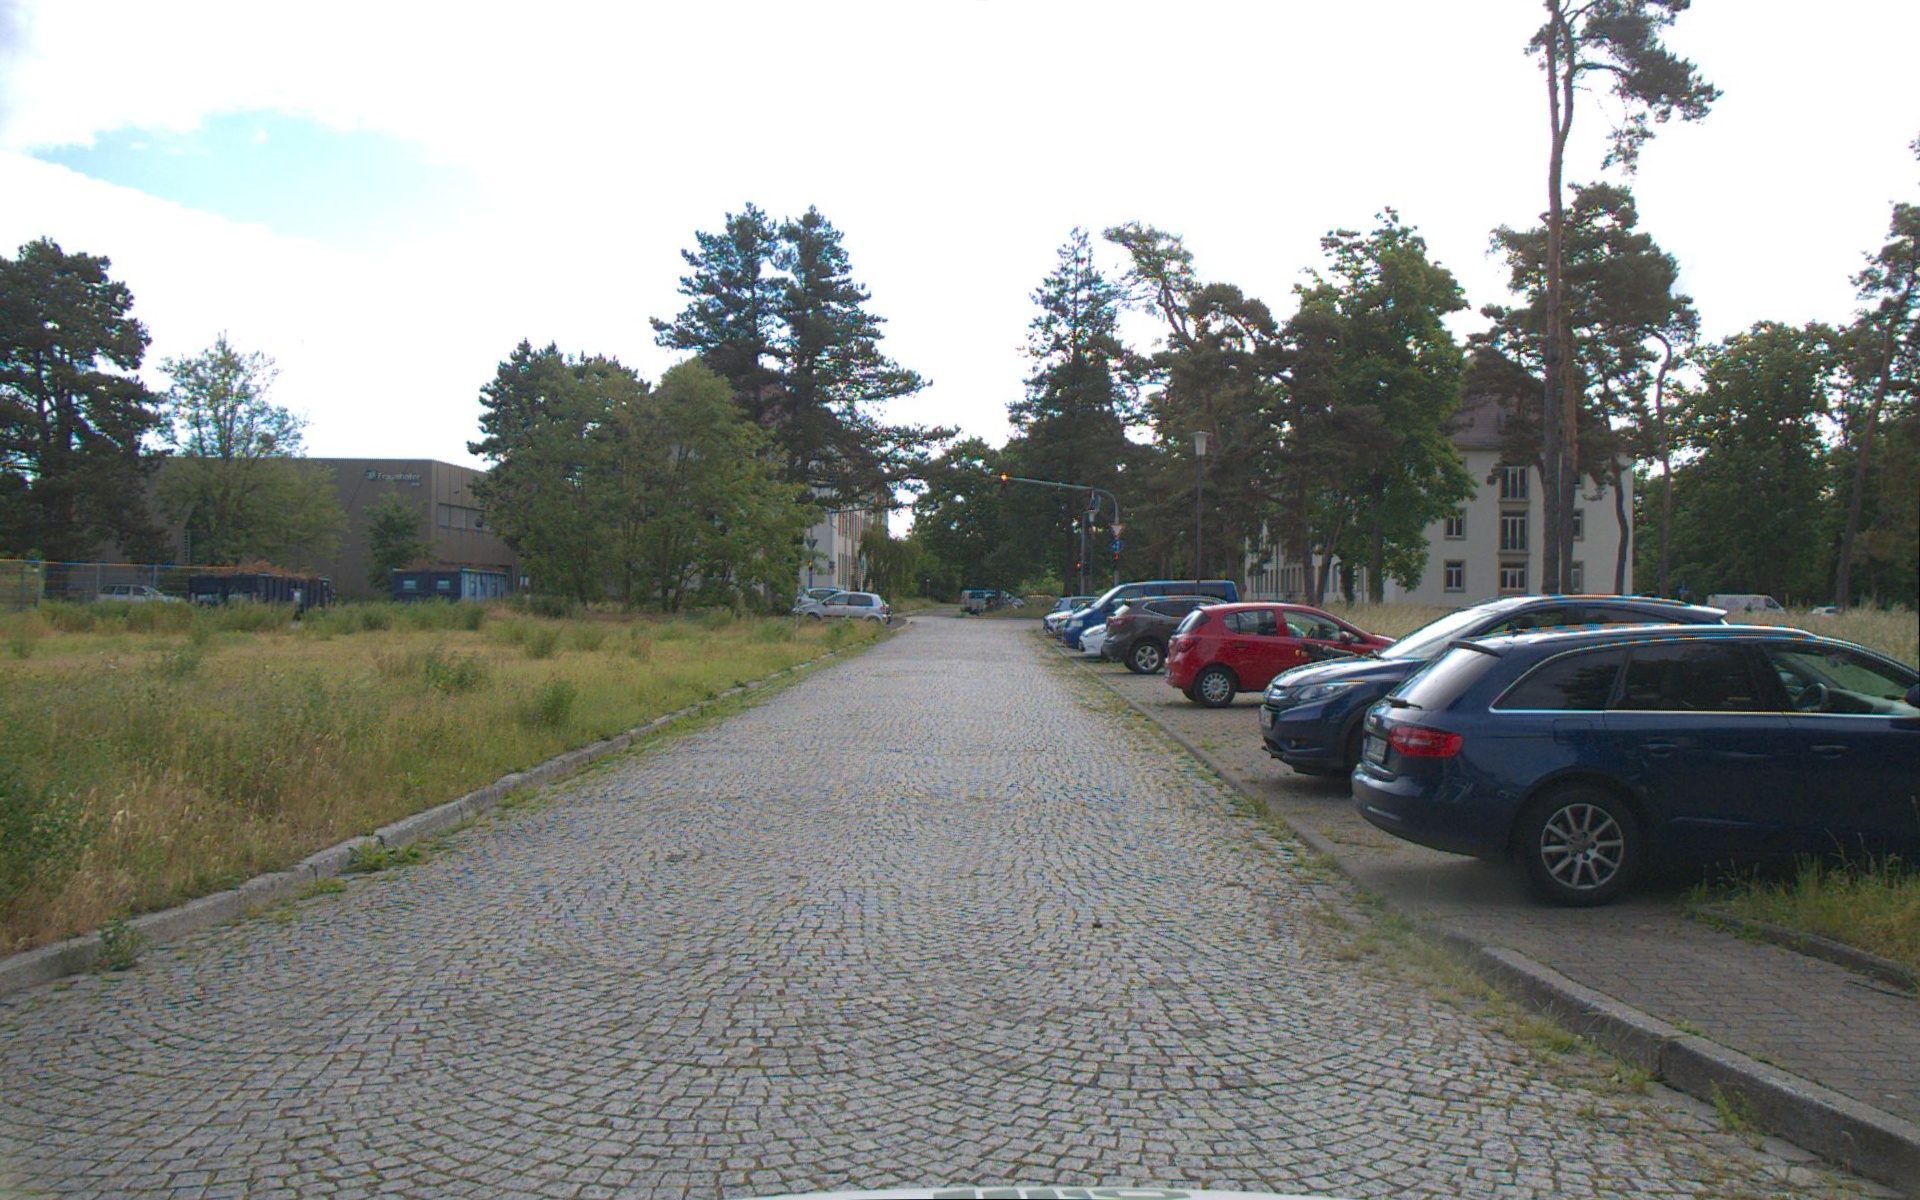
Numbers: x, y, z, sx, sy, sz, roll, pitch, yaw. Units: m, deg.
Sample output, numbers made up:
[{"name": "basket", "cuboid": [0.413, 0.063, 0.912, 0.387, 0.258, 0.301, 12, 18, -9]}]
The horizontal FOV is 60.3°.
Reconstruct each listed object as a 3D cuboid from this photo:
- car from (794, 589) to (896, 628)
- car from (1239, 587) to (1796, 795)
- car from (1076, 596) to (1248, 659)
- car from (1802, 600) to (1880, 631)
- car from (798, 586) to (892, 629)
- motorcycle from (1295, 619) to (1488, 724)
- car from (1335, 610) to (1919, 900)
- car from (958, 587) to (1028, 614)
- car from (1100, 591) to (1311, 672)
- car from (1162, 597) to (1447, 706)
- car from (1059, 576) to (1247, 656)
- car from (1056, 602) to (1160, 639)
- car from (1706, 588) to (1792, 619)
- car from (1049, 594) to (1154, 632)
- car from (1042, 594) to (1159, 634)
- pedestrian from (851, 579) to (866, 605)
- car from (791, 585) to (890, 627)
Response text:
[{"name": "car", "cuboid": [-4.811, 0.348, 69.230, 4.214, 1.581, 1.810, 0, 0, -5]}, {"name": "car", "cuboid": [4.645, 0.719, 14.220, 4.158, 1.651, 1.886, 0, 0, -1]}, {"name": "car", "cuboid": [4.992, 0.675, 41.187, 4.015, 1.504, 1.721, 0, 0, -2]}, {"name": "car", "cuboid": [58.191, 1.009, 109.291, 4.047, 1.835, 1.900, 2, 0, 3]}, {"name": "car", "cuboid": [-4.617, 0.293, 66.631, 3.646, 1.506, 1.672, 3, 0, -2]}, {"name": "motorcycle", "cuboid": [5.207, 0.858, 20.026, 2.185, 1.223, 0.568, 0, 0, -2]}, {"name": "car", "cuboid": [4.471, 0.805, 9.480, 4.266, 1.464, 1.927, 0, 0, 3]}, {"name": "car", "cuboid": [2.672, 0.051, 134.422, 5.281, 2.138, 2.172, 1, 0, -12]}, {"name": "car", "cuboid": [5.110, 0.636, 34.829, 4.118, 1.623, 1.953, 0, 0, -2]}, {"name": "car", "cuboid": [5.030, 0.731, 24.523, 3.843, 1.522, 1.784, 0, 0, -1]}, {"name": "car", "cuboid": [5.049, 0.415, 43.732, 4.698, 2.039, 1.966, 0, 0, -1]}, {"name": "car", "cuboid": [5.102, 0.691, 57.440, 3.512, 1.244, 1.629, 0, 0, 2]}, {"name": "car", "cuboid": [57.203, 0.258, 120.035, 5.191, 2.055, 2.106, 2, 0, 1]}, {"name": "car", "cuboid": [5.738, 0.515, 67.460, 4.054, 1.489, 1.632, 0, 0, -5]}, {"name": "car", "cuboid": [5.252, 0.514, 62.144, 4.105, 1.462, 1.753, 0, 0, -7]}, {"name": "pedestrian", "cuboid": [-8.112, -0.627, 132.231, 1.052, 1.993, 1.121, 2, 0, 1]}, {"name": "car", "cuboid": [-5.199, 0.256, 72.039, 4.213, 1.762, 1.651, 0, 0, -5]}]
